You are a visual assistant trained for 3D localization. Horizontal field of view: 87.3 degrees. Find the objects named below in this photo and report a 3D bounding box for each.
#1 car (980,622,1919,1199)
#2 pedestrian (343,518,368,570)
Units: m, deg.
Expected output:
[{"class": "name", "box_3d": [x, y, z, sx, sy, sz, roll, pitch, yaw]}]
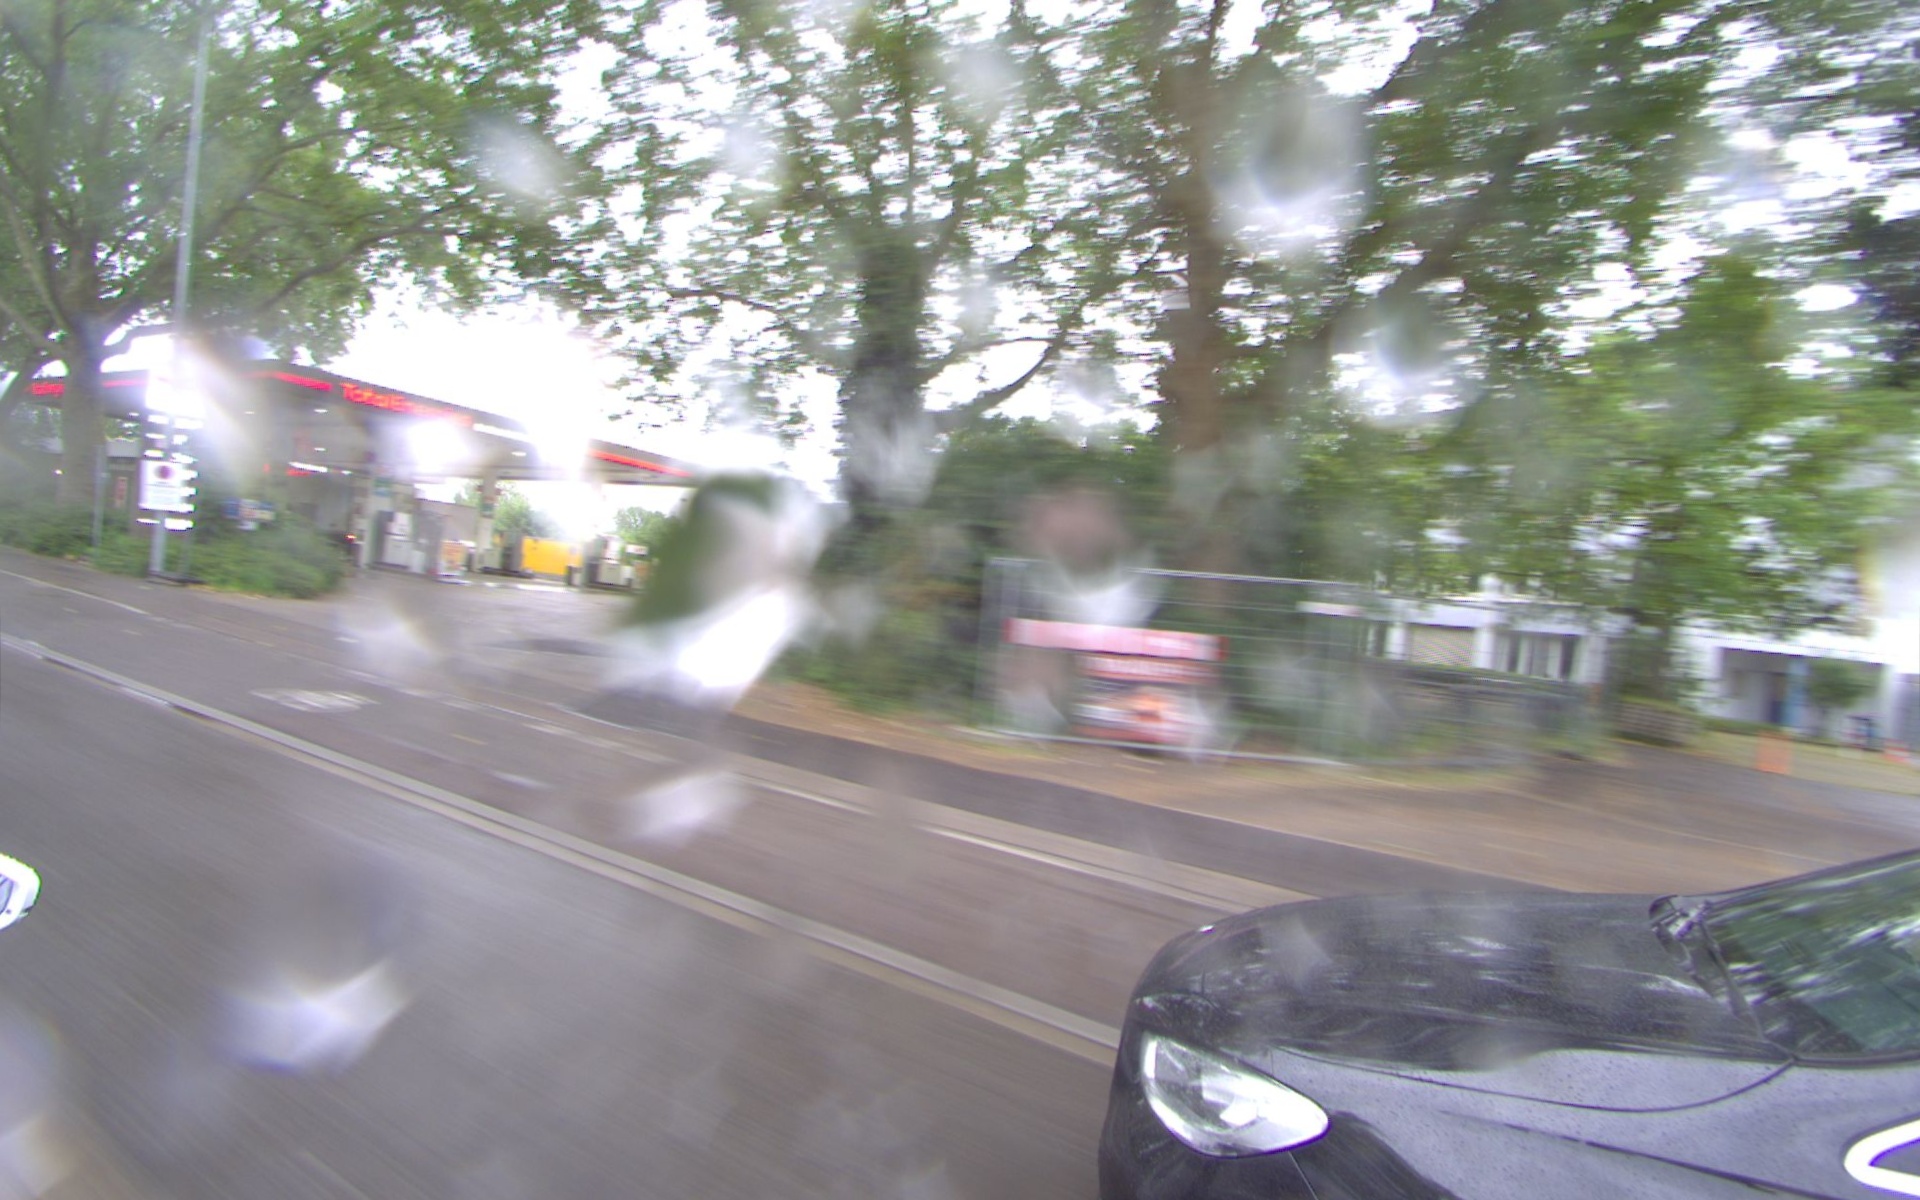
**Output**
[{"class": "car", "box_3d": [2.247, 1.052, 1.604, 4.018, 1.542, 1.873, 6, 0, 30]}, {"class": "pedestrian", "box_3d": [-21.248, -1.957, 35.368, 0.551, 1.747, 0.718, 5, 2, -39]}]
